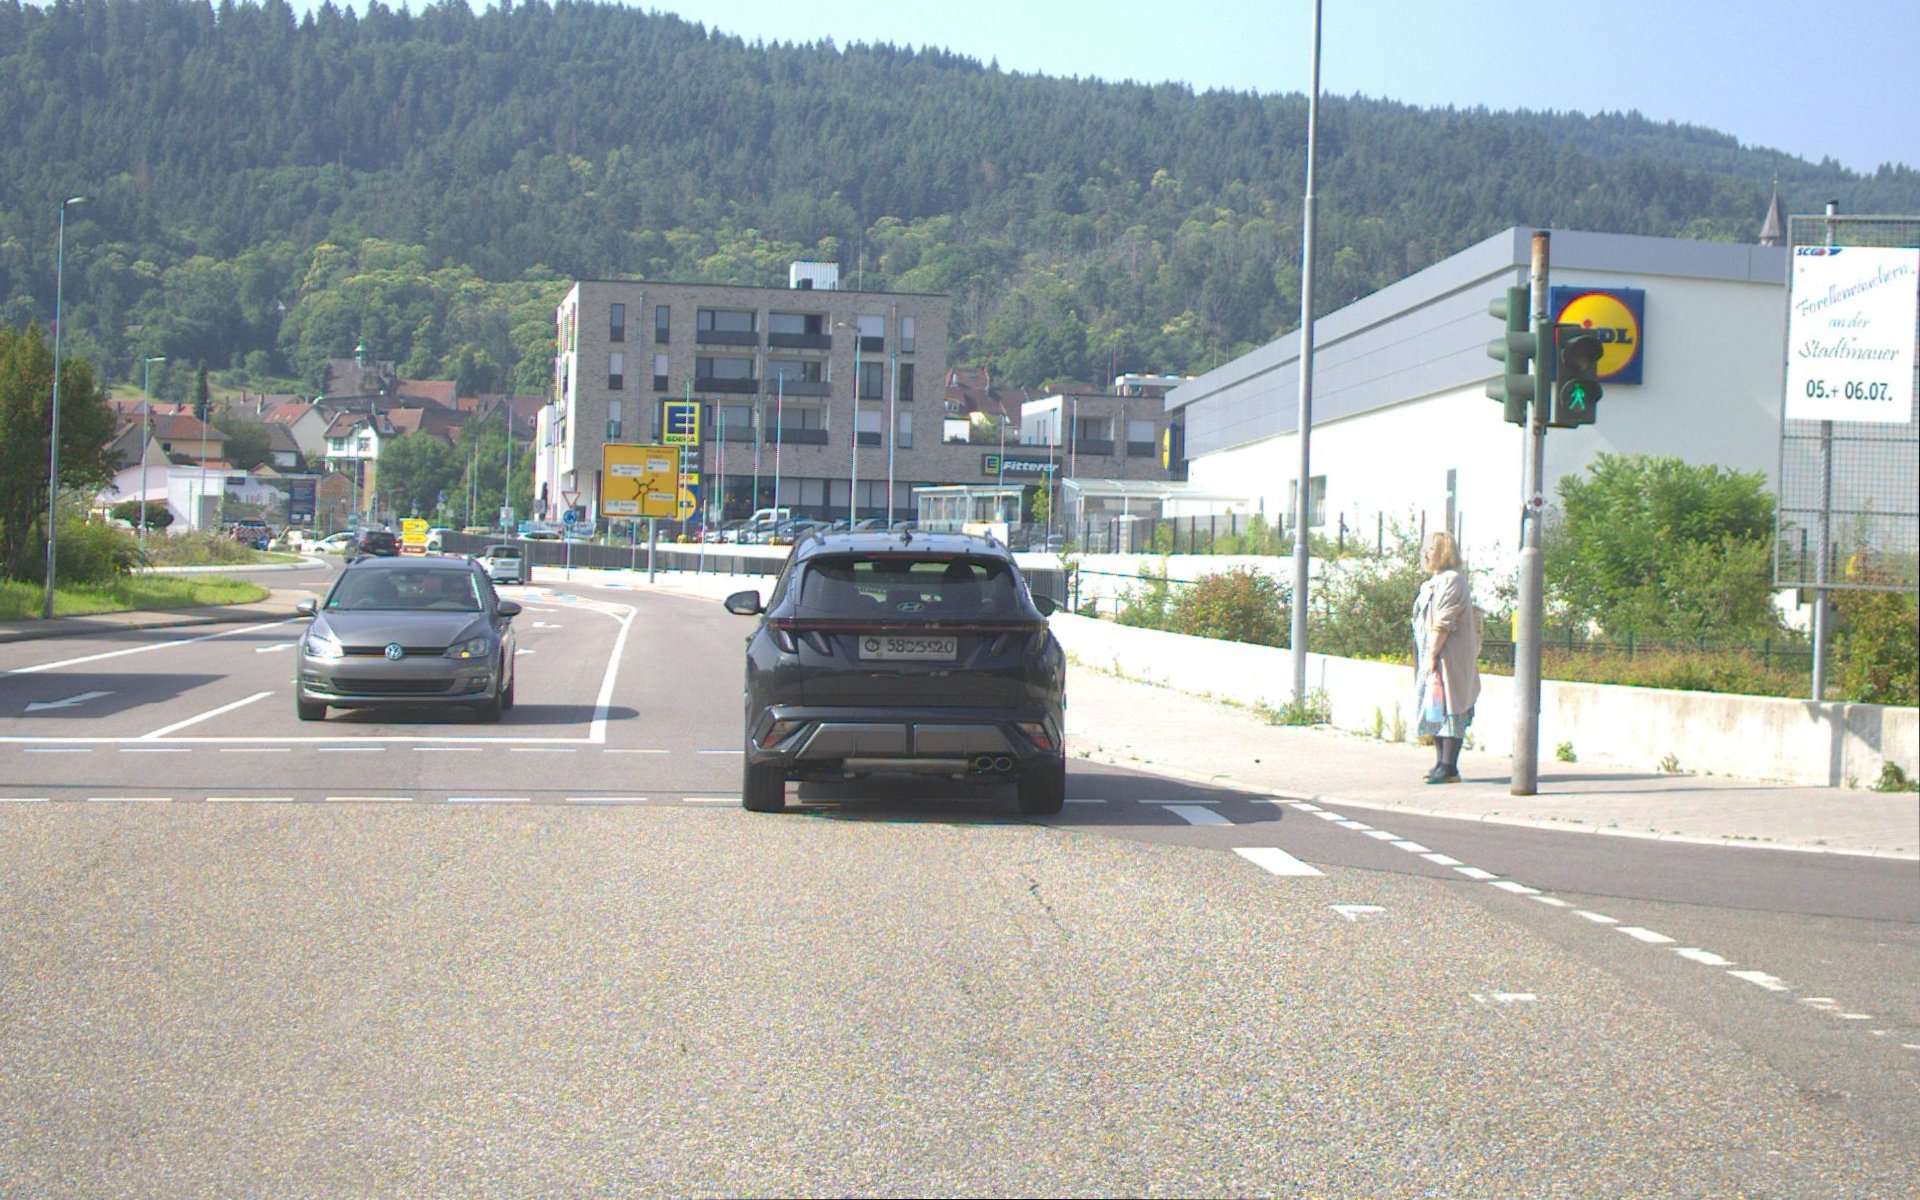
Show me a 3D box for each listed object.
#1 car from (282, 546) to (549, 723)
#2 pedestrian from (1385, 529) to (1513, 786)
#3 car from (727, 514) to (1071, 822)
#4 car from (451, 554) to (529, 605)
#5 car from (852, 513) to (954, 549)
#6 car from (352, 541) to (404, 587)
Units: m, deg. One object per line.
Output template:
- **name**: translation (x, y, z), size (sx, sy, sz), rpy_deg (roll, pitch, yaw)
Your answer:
- **car**: translation (-4.846, 0.270, 31.098), size (1.772, 1.468, 4.220), rpy_deg (1, 1, -1)
- **pedestrian**: translation (3.220, 0.374, 22.673), size (0.710, 1.665, 0.593), rpy_deg (1, 0, -4)
- **car**: translation (-0.359, 0.356, 21.041), size (1.881, 1.678, 4.000), rpy_deg (1, 1, -1)
- **car**: translation (-18.802, -0.834, 137.425), size (1.993, 2.007, 4.001), rpy_deg (1, 1, -24)
- **car**: translation (-2.449, -2.957, 147.273), size (4.060, 1.399, 1.486), rpy_deg (1, 1, -24)
- **car**: translation (-25.605, -1.586, 151.196), size (1.993, 2.007, 4.001), rpy_deg (1, 1, -13)
